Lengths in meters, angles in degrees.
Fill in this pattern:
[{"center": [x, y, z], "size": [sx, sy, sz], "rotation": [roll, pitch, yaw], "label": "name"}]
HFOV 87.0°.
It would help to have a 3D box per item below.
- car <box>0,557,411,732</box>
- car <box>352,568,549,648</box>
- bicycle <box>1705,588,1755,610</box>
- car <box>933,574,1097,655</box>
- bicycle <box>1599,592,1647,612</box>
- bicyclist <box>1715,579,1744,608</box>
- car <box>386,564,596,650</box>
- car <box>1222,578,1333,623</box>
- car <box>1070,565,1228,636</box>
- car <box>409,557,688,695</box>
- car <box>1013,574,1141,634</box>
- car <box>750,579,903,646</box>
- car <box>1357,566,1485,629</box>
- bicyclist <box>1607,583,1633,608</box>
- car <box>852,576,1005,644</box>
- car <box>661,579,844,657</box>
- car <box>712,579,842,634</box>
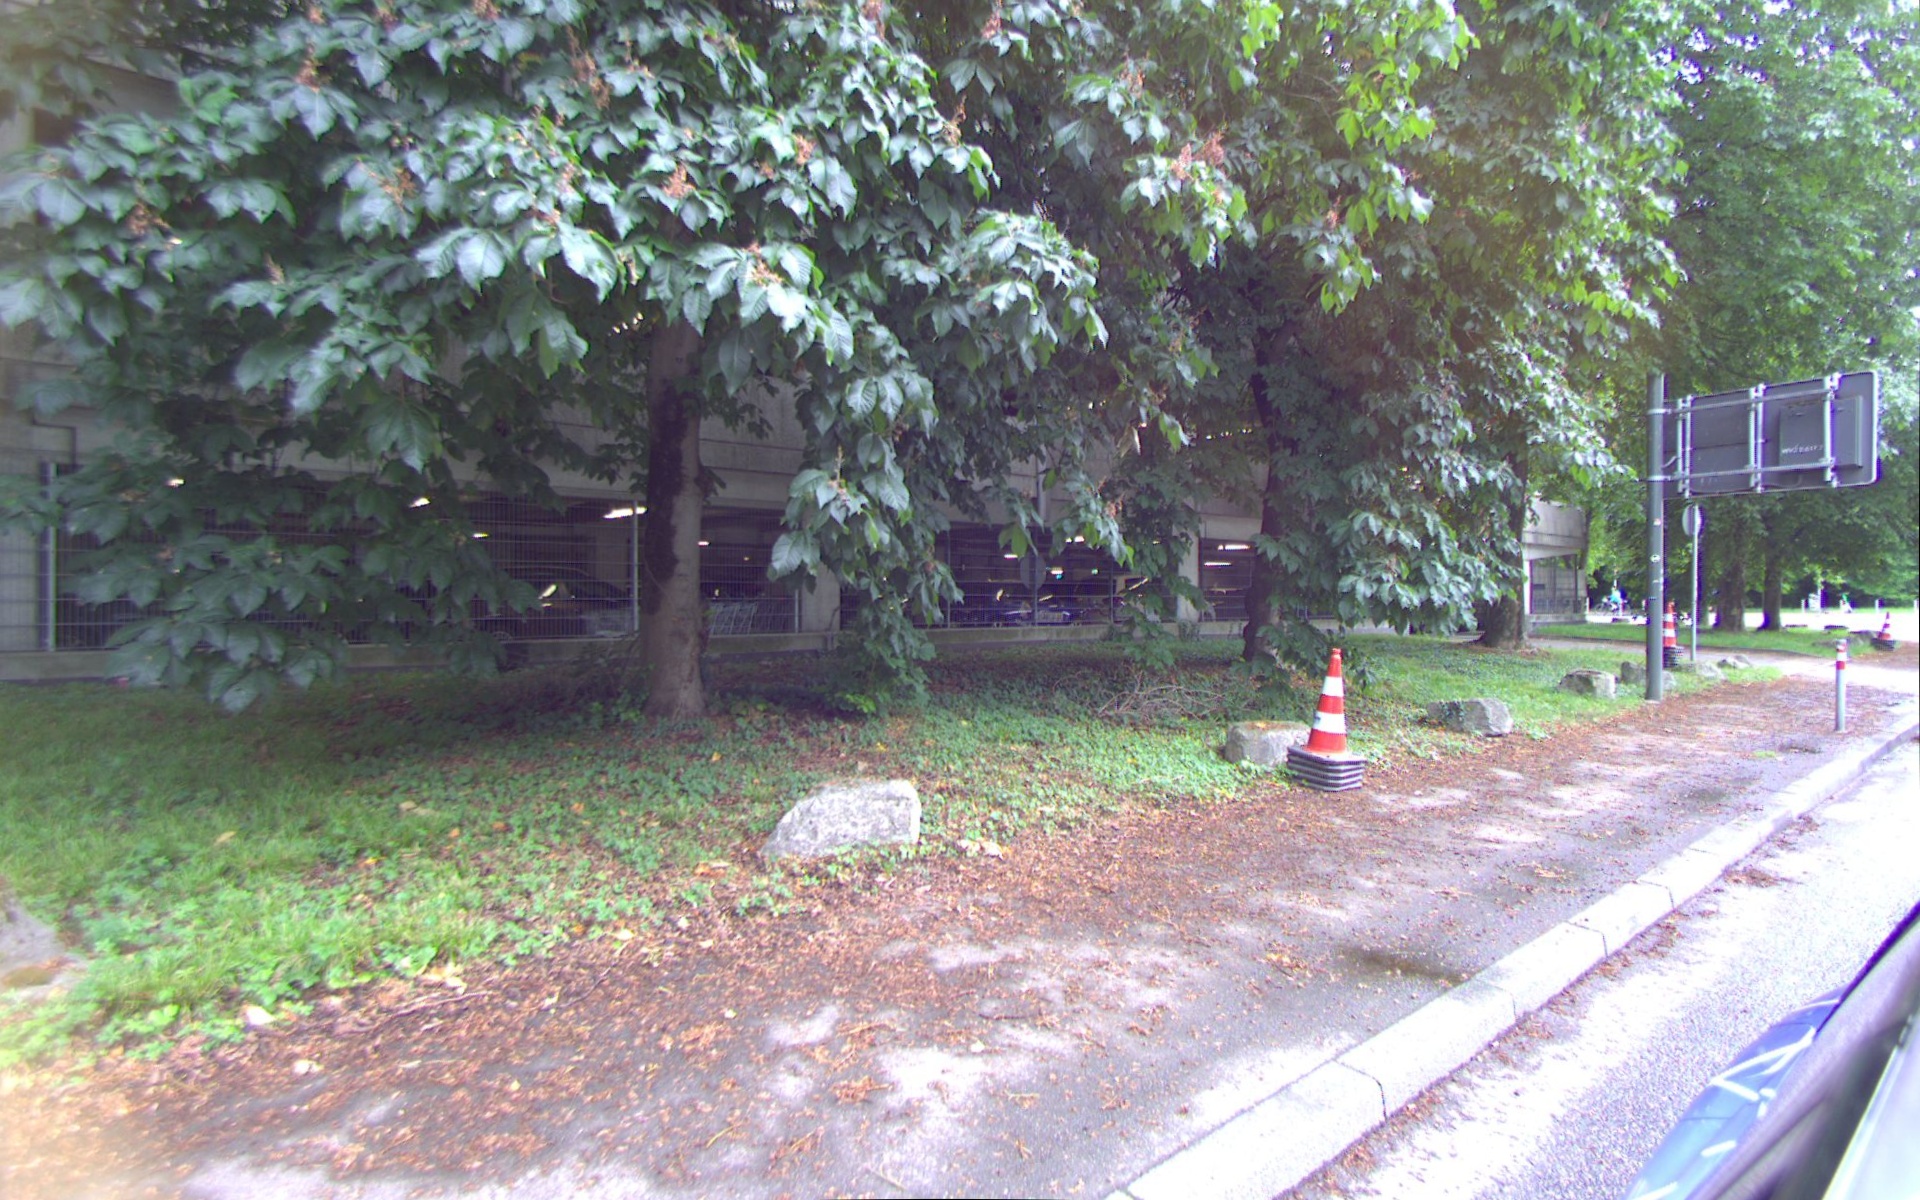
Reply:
[{"center": [-10.338, 0.468, 13.892], "size": [4.594, 2.039, 1.996], "rotation": [-2, 0, -41], "label": "car"}, {"center": [-11.450, 0.133, 22.842], "size": [3.639, 1.627, 1.718], "rotation": [-2, 1, -42], "label": "car"}, {"center": [42.631, -0.030, 56.046], "size": [0.765, 1.157, 2.047], "rotation": [-3, 1, -42], "label": "bicycle"}, {"center": [1.347, 0.291, 23.803], "size": [3.791, 1.730, 1.588], "rotation": [-2, 0, -41], "label": "car"}, {"center": [39.306, 0.122, 59.998], "size": [0.736, 1.137, 2.252], "rotation": [-2, 0, -44], "label": "bicycle"}, {"center": [42.619, -0.359, 56.050], "size": [0.912, 1.514, 1.099], "rotation": [-3, 1, -42], "label": "bicyclist"}, {"center": [-9.761, 0.104, 21.198], "size": [3.639, 1.627, 1.718], "rotation": [-2, 1, -42], "label": "car"}, {"center": [11.356, 0.007, 36.142], "size": [3.927, 1.471, 1.876], "rotation": [-2, 1, -38], "label": "car"}, {"center": [5.069, -0.030, 26.817], "size": [4.587, 1.730, 1.588], "rotation": [-2, 0, -41], "label": "car"}, {"center": [-6.877, 0.341, 17.078], "size": [3.929, 2.039, 1.997], "rotation": [-2, 0, -40], "label": "car"}, {"center": [3.442, 0.081, 29.411], "size": [3.629, 1.606, 1.718], "rotation": [-2, 1, -42], "label": "car"}, {"center": [-3.456, 0.289, 26.539], "size": [3.639, 1.565, 1.718], "rotation": [-2, 1, -42], "label": "car"}, {"center": [14.537, -0.083, 31.805], "size": [4.653, 1.858, 1.922], "rotation": [-1, 0, -41], "label": "car"}, {"center": [39.201, -0.285, 60.097], "size": [0.731, 1.448, 1.156], "rotation": [-2, 0, -44], "label": "bicyclist"}, {"center": [-0.768, 0.223, 25.796], "size": [3.639, 1.565, 1.718], "rotation": [-2, 1, -42], "label": "car"}, {"center": [-4.594, 0.359, 22.696], "size": [3.639, 1.565, 1.718], "rotation": [-2, 1, -42], "label": "car"}, {"center": [-5.723, 0.172, 31.856], "size": [3.638, 1.565, 1.719], "rotation": [-2, 1, -41], "label": "car"}]
